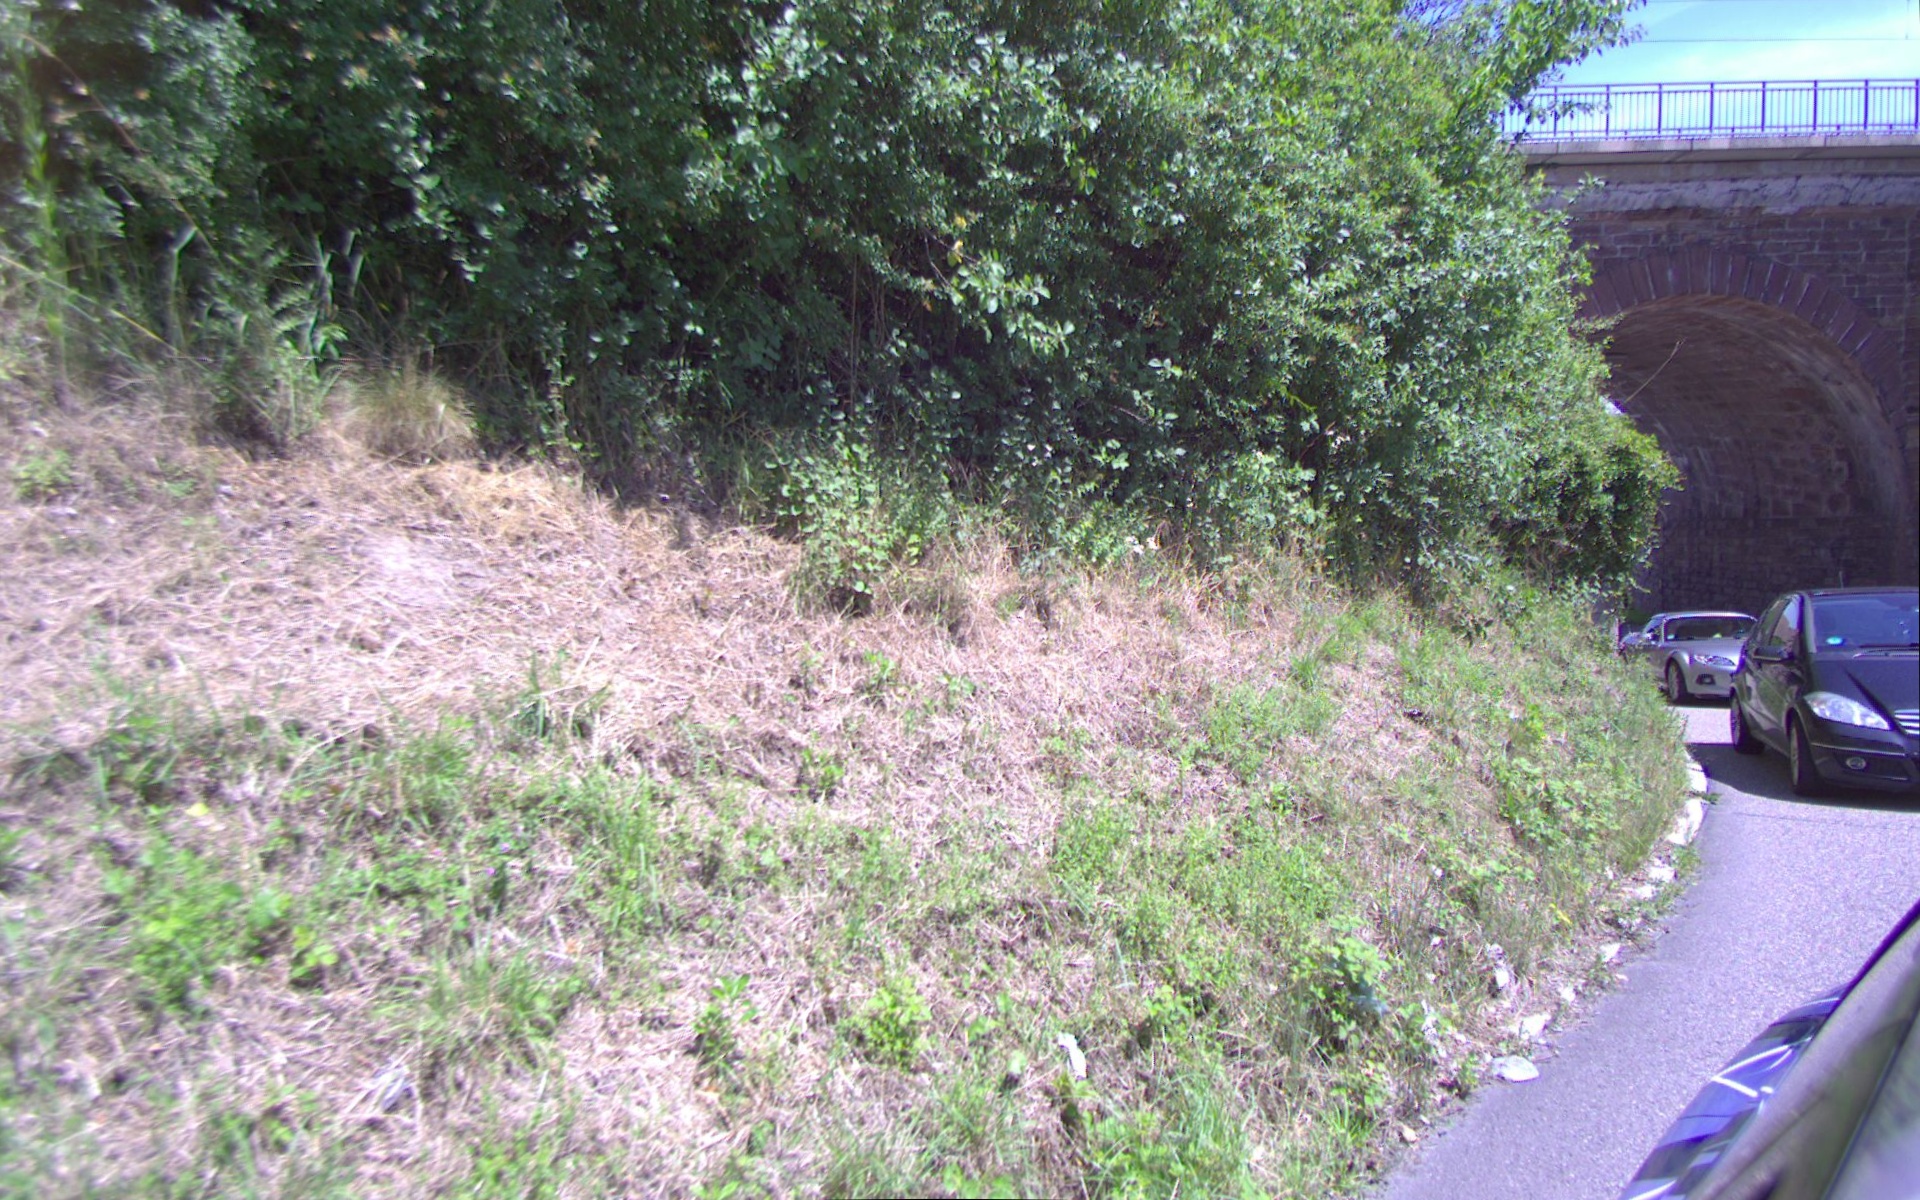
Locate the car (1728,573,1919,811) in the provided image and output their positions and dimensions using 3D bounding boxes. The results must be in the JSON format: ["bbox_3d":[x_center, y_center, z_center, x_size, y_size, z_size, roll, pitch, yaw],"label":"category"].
[{"bbox_3d":[7.715,0.601,8.249,1.781,1.599,3.760,0,0,29],"label":"car"}]

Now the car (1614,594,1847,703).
[{"bbox_3d":[11.129,0.646,14.899,1.627,1.339,3.418,-3,0,18],"label":"car"}]
